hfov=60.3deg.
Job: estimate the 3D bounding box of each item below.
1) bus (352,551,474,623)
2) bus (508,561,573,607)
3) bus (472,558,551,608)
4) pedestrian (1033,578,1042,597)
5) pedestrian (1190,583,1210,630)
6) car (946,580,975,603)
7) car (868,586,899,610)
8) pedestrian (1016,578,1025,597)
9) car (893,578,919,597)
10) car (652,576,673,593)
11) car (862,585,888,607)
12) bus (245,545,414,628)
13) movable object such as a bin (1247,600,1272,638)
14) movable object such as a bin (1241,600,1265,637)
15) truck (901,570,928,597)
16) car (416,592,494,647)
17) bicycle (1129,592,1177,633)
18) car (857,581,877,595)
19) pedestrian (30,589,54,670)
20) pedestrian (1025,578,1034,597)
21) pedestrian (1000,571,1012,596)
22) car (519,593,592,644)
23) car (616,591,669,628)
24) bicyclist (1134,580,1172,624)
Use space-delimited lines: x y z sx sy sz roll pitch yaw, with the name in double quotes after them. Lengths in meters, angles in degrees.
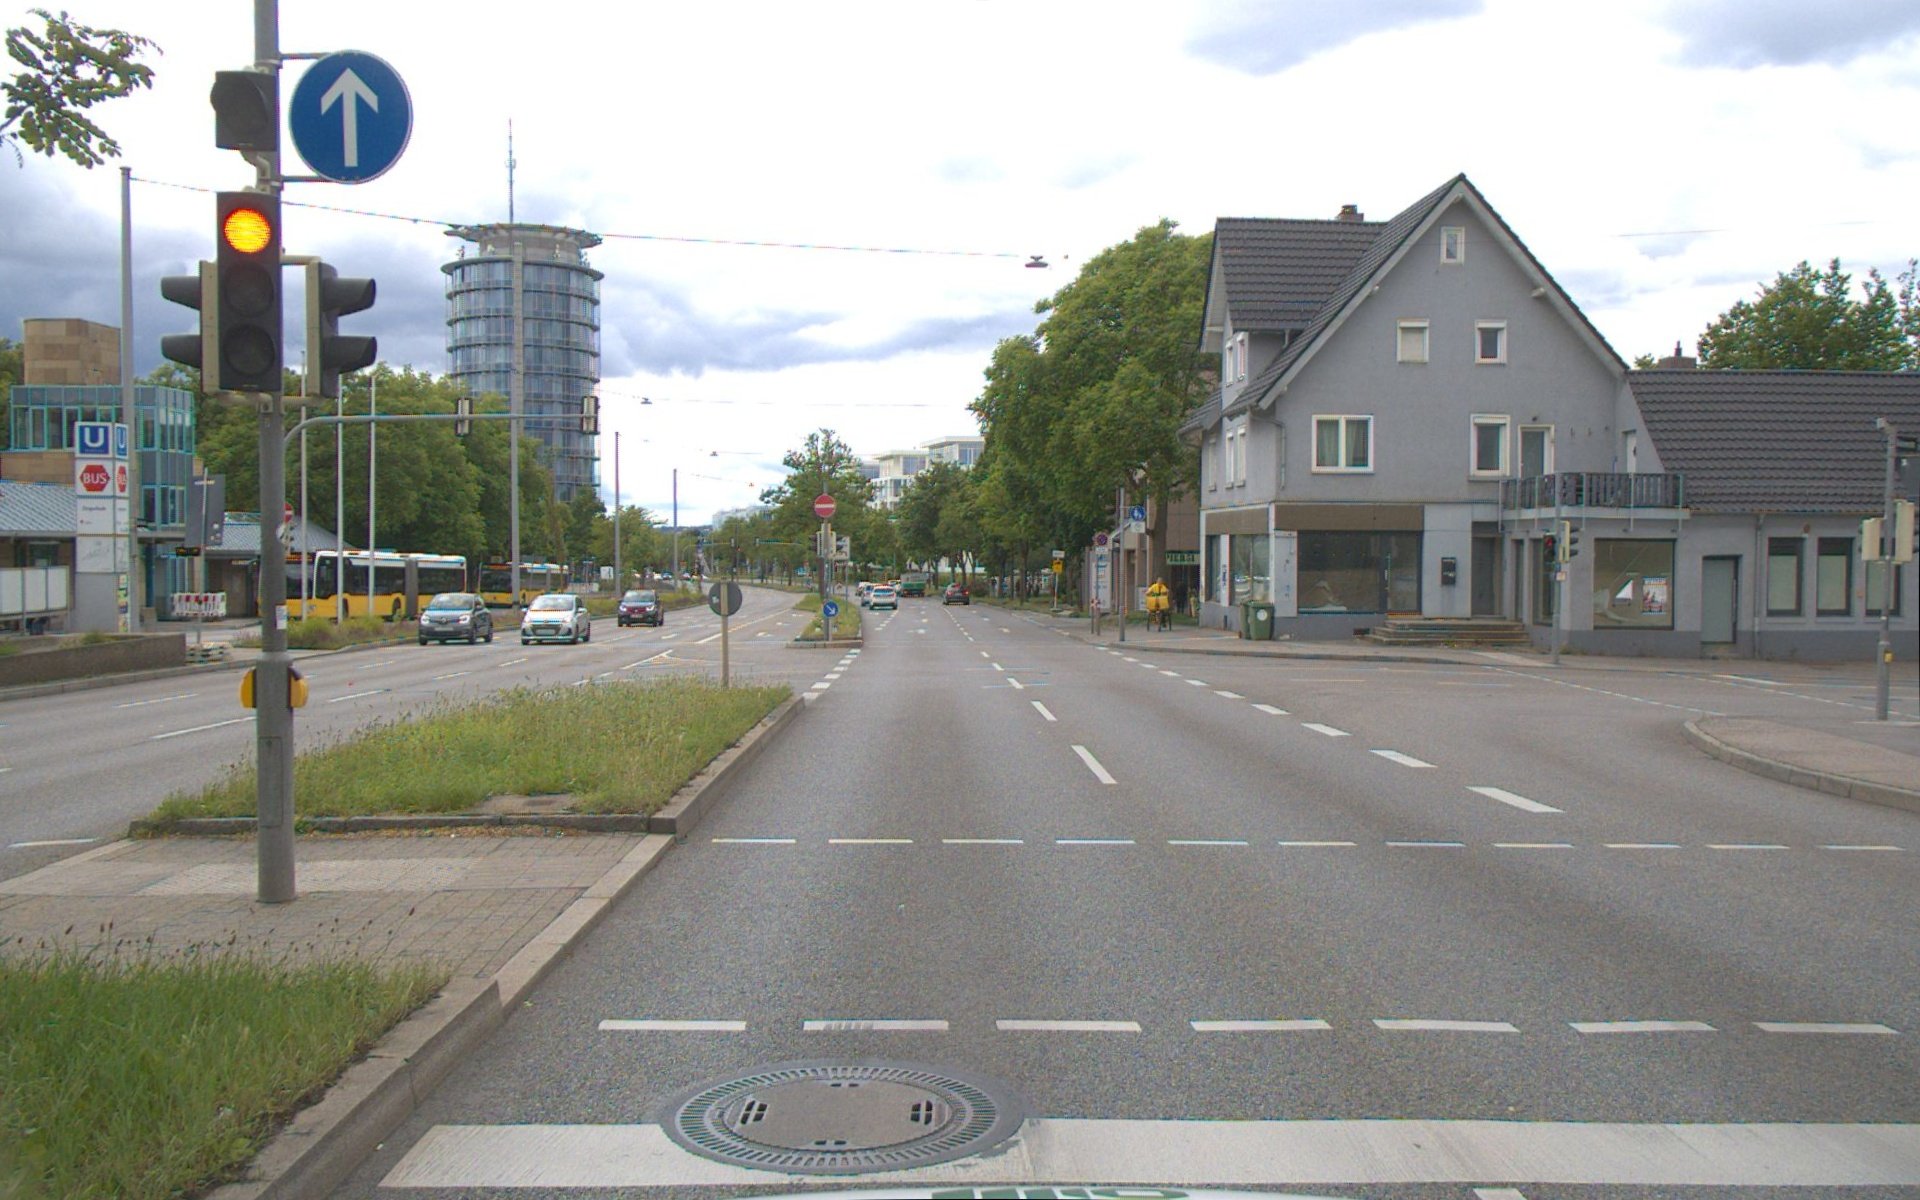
-26.548 -0.614 80.709 2.927 3.327 7.879 -1 0 3 "bus"
-31.152 -1.138 123.002 3.081 3.281 7.762 0 0 -2 "bus"
-30.789 -1.122 114.003 3.082 3.281 10.279 0 0 -3 "bus"
6.450 -1.042 137.211 0.638 1.597 0.669 0 0 -9 "pedestrian"
9.489 0.256 65.409 0.690 1.811 0.870 2 -3 7 "pedestrian"
0.015 -0.609 119.620 1.851 1.521 4.096 -2 -1 -2 "car"
-4.874 -0.126 106.179 1.953 1.503 4.254 0 0 -2 "car"
4.992 -1.039 137.197 0.638 1.597 0.669 0 0 -9 "pedestrian"
-5.409 -1.255 164.996 2.207 1.787 4.927 0 0 -5 "car"
-35.916 -1.843 199.733 1.925 2.049 3.999 1 0 -1 "car"
-6.001 -0.288 117.309 1.786 1.567 4.112 0 0 -2 "car"
-27.085 -0.561 71.685 2.927 3.307 10.174 -1 0 3 "bus"
7.997 0.496 44.156 0.518 0.997 0.736 0 0 -1 "movable object such as a bin"
7.967 0.489 44.946 0.518 0.997 0.736 0 0 -1 "movable object such as a bin"
-4.355 -1.547 156.419 2.207 2.459 4.927 0 0 -5 "truck"
-15.474 0.565 50.806 1.652 1.606 3.344 0 0 -6 "car"
6.021 0.376 51.721 1.053 1.239 2.437 -1 0 -4 "bicycle"
-9.728 -1.273 173.016 1.929 1.444 4.017 0 0 -6 "car"
-18.406 0.583 33.160 0.414 1.619 0.353 0 0 -30 "pedestrian"
5.789 -1.056 137.045 0.638 1.597 0.669 0 0 -9 "pedestrian"
3.802 -1.353 136.529 0.951 2.049 0.981 1 -1 -2 "pedestrian"
-12.366 0.550 50.718 1.651 1.488 3.552 0 0 -5 "car"
-13.522 0.382 70.622 1.668 1.518 3.560 -1 0 -2 "car"
6.017 0.062 51.637 1.053 1.380 0.627 -1 0 -5 "bicyclist"
